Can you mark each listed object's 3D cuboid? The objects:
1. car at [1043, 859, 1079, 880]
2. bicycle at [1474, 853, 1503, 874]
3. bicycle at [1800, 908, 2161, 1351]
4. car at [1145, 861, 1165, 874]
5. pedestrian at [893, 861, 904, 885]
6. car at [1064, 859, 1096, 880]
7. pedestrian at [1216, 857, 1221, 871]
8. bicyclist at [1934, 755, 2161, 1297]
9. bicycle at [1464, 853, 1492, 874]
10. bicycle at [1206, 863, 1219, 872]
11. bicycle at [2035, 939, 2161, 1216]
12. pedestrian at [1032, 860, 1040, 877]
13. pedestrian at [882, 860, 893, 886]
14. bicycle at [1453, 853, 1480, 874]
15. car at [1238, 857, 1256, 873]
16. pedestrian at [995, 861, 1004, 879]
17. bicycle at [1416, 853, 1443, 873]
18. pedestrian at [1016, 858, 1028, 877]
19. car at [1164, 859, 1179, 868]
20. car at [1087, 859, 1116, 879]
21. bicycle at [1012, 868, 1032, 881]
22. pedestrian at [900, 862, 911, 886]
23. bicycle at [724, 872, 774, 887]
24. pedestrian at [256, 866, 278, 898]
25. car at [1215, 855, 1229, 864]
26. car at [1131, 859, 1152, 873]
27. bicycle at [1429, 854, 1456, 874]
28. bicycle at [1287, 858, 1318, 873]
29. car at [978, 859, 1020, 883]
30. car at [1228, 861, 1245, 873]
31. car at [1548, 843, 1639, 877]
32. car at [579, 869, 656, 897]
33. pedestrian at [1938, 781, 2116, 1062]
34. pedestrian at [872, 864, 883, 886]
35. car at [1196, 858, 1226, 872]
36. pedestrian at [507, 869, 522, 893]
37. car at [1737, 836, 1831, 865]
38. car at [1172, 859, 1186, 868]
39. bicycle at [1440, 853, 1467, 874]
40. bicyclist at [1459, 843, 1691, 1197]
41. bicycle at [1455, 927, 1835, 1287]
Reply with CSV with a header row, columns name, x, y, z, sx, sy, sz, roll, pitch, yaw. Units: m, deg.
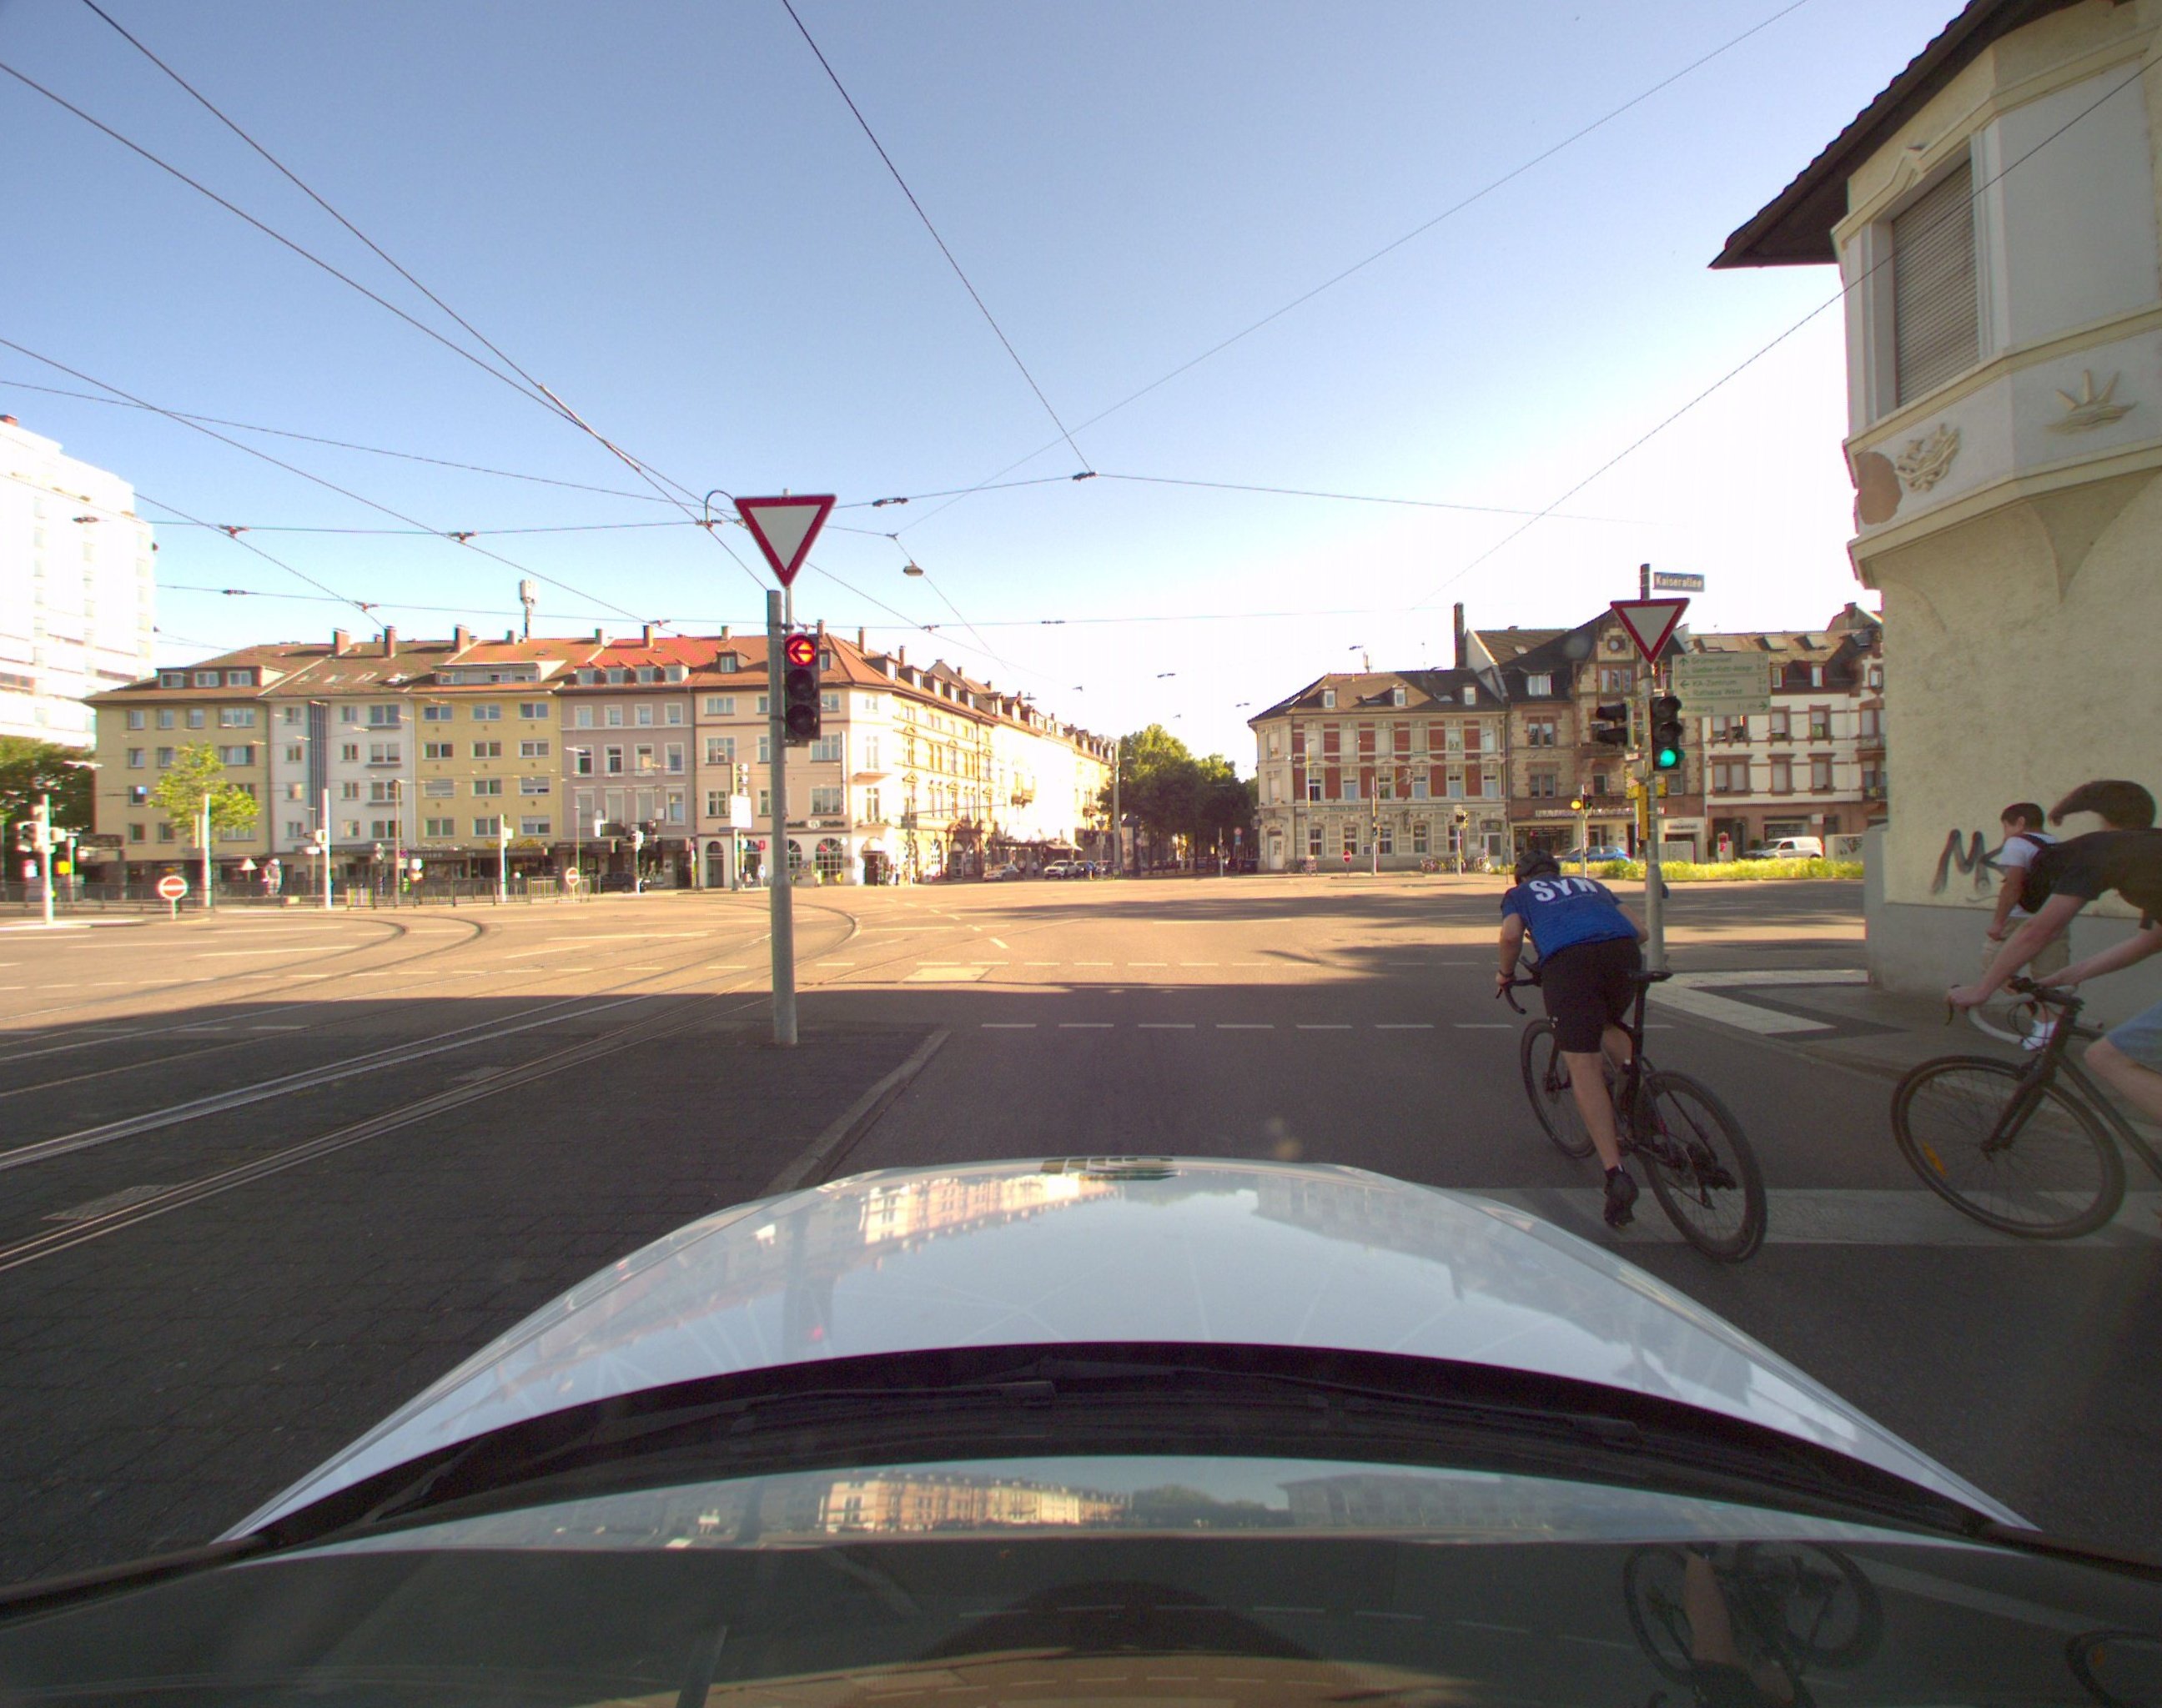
name,x,y,z,sx,sy,sz,roll,pitch,yaw
car,-1.643,1.268,67.376,1.979,1.618,4.015,-1,-1,14
bicycle,26.194,0.612,52.359,0.626,1.287,2.663,0,-1,3
bicycle,3.579,0.854,2.775,0.752,1.236,1.702,0,-1,0
car,11.170,1.984,122.542,1.977,1.904,4.019,-1,-1,19
pedestrian,-12.641,1.337,56.370,0.631,1.634,0.700,0,-1,-2
car,-0.028,1.375,73.921,1.979,1.904,4.015,-1,-1,14
pedestrian,17.349,1.269,102.878,0.635,1.796,0.492,-1,-1,14
bicyclist,3.605,0.510,2.608,0.803,1.606,0.883,0,-1,0
bicycle,25.498,0.609,52.388,0.626,1.287,2.663,0,-1,3
bicycle,15.990,1.656,98.868,0.630,1.085,1.687,0,-1,-28
bicycle,4.494,0.886,2.691,0.647,1.031,1.772,0,-1,3
pedestrian,-4.526,1.470,81.819,0.539,1.631,0.709,-1,-1,15
pedestrian,-13.670,1.334,57.576,0.631,1.881,0.465,0,-1,-2
bicycle,24.771,0.624,52.392,0.626,1.287,2.663,0,-1,3
car,16.814,1.129,82.367,1.680,1.565,3.855,-1,-1,14
pedestrian,-7.358,1.448,73.597,0.539,1.631,0.709,-1,-1,15
bicycle,22.422,0.578,52.470,0.689,1.287,2.663,0,-1,3
pedestrian,-4.764,1.109,65.493,0.814,1.512,0.601,-1,-1,16
car,14.717,1.511,131.958,1.546,1.513,3.673,-1,-1,19
car,2.007,1.407,79.703,1.979,1.904,4.015,-1,-1,14
bicycle,-4.736,1.639,65.561,0.756,1.008,2.406,-1,-1,16
pedestrian,-12.413,1.416,57.680,0.631,1.634,0.700,0,-1,-2
bicycle,-23.429,1.793,57.469,3.118,0.980,1.002,0,-1,1
pedestrian,-41.776,1.436,41.814,0.523,1.628,0.577,0,-1,0
car,23.274,0.926,134.331,1.546,1.513,3.673,-1,-1,19
car,8.393,1.628,112.697,1.977,1.904,4.019,-1,-1,19
bicycle,23.257,0.634,52.427,0.689,1.287,2.663,0,-1,3
bicycle,15.467,0.806,56.866,2.040,0.998,0.631,-1,-1,4
car,-6.761,1.373,67.484,1.977,1.904,4.019,-1,-1,19
car,18.256,1.560,95.513,1.741,1.362,3.870,-1,-1,14
car,28.339,0.331,45.142,3.769,1.778,2.000,0,-1,1
car,-30.592,1.921,53.820,3.962,1.670,2.006,-2,0,10
pedestrian,6.406,0.423,5.523,0.589,1.756,0.635,-5,-1,-37
pedestrian,-14.133,1.459,56.523,0.631,1.477,0.465,0,-1,-2
car,18.334,1.570,114.729,3.955,1.904,2.009,-1,-1,17
pedestrian,-39.879,1.886,57.334,0.631,1.634,0.700,0,-1,-2
car,45.307,-0.226,52.574,4.349,1.778,2.000,0,-1,1
car,16.319,1.532,135.982,1.546,1.513,3.673,-1,-1,19
bicycle,23.981,0.621,52.420,0.626,1.287,2.663,0,-1,3
bicyclist,2.311,0.703,3.919,0.635,1.494,0.885,0,1,6
bicycle,2.319,0.939,3.646,0.623,1.085,1.705,0,-1,5
